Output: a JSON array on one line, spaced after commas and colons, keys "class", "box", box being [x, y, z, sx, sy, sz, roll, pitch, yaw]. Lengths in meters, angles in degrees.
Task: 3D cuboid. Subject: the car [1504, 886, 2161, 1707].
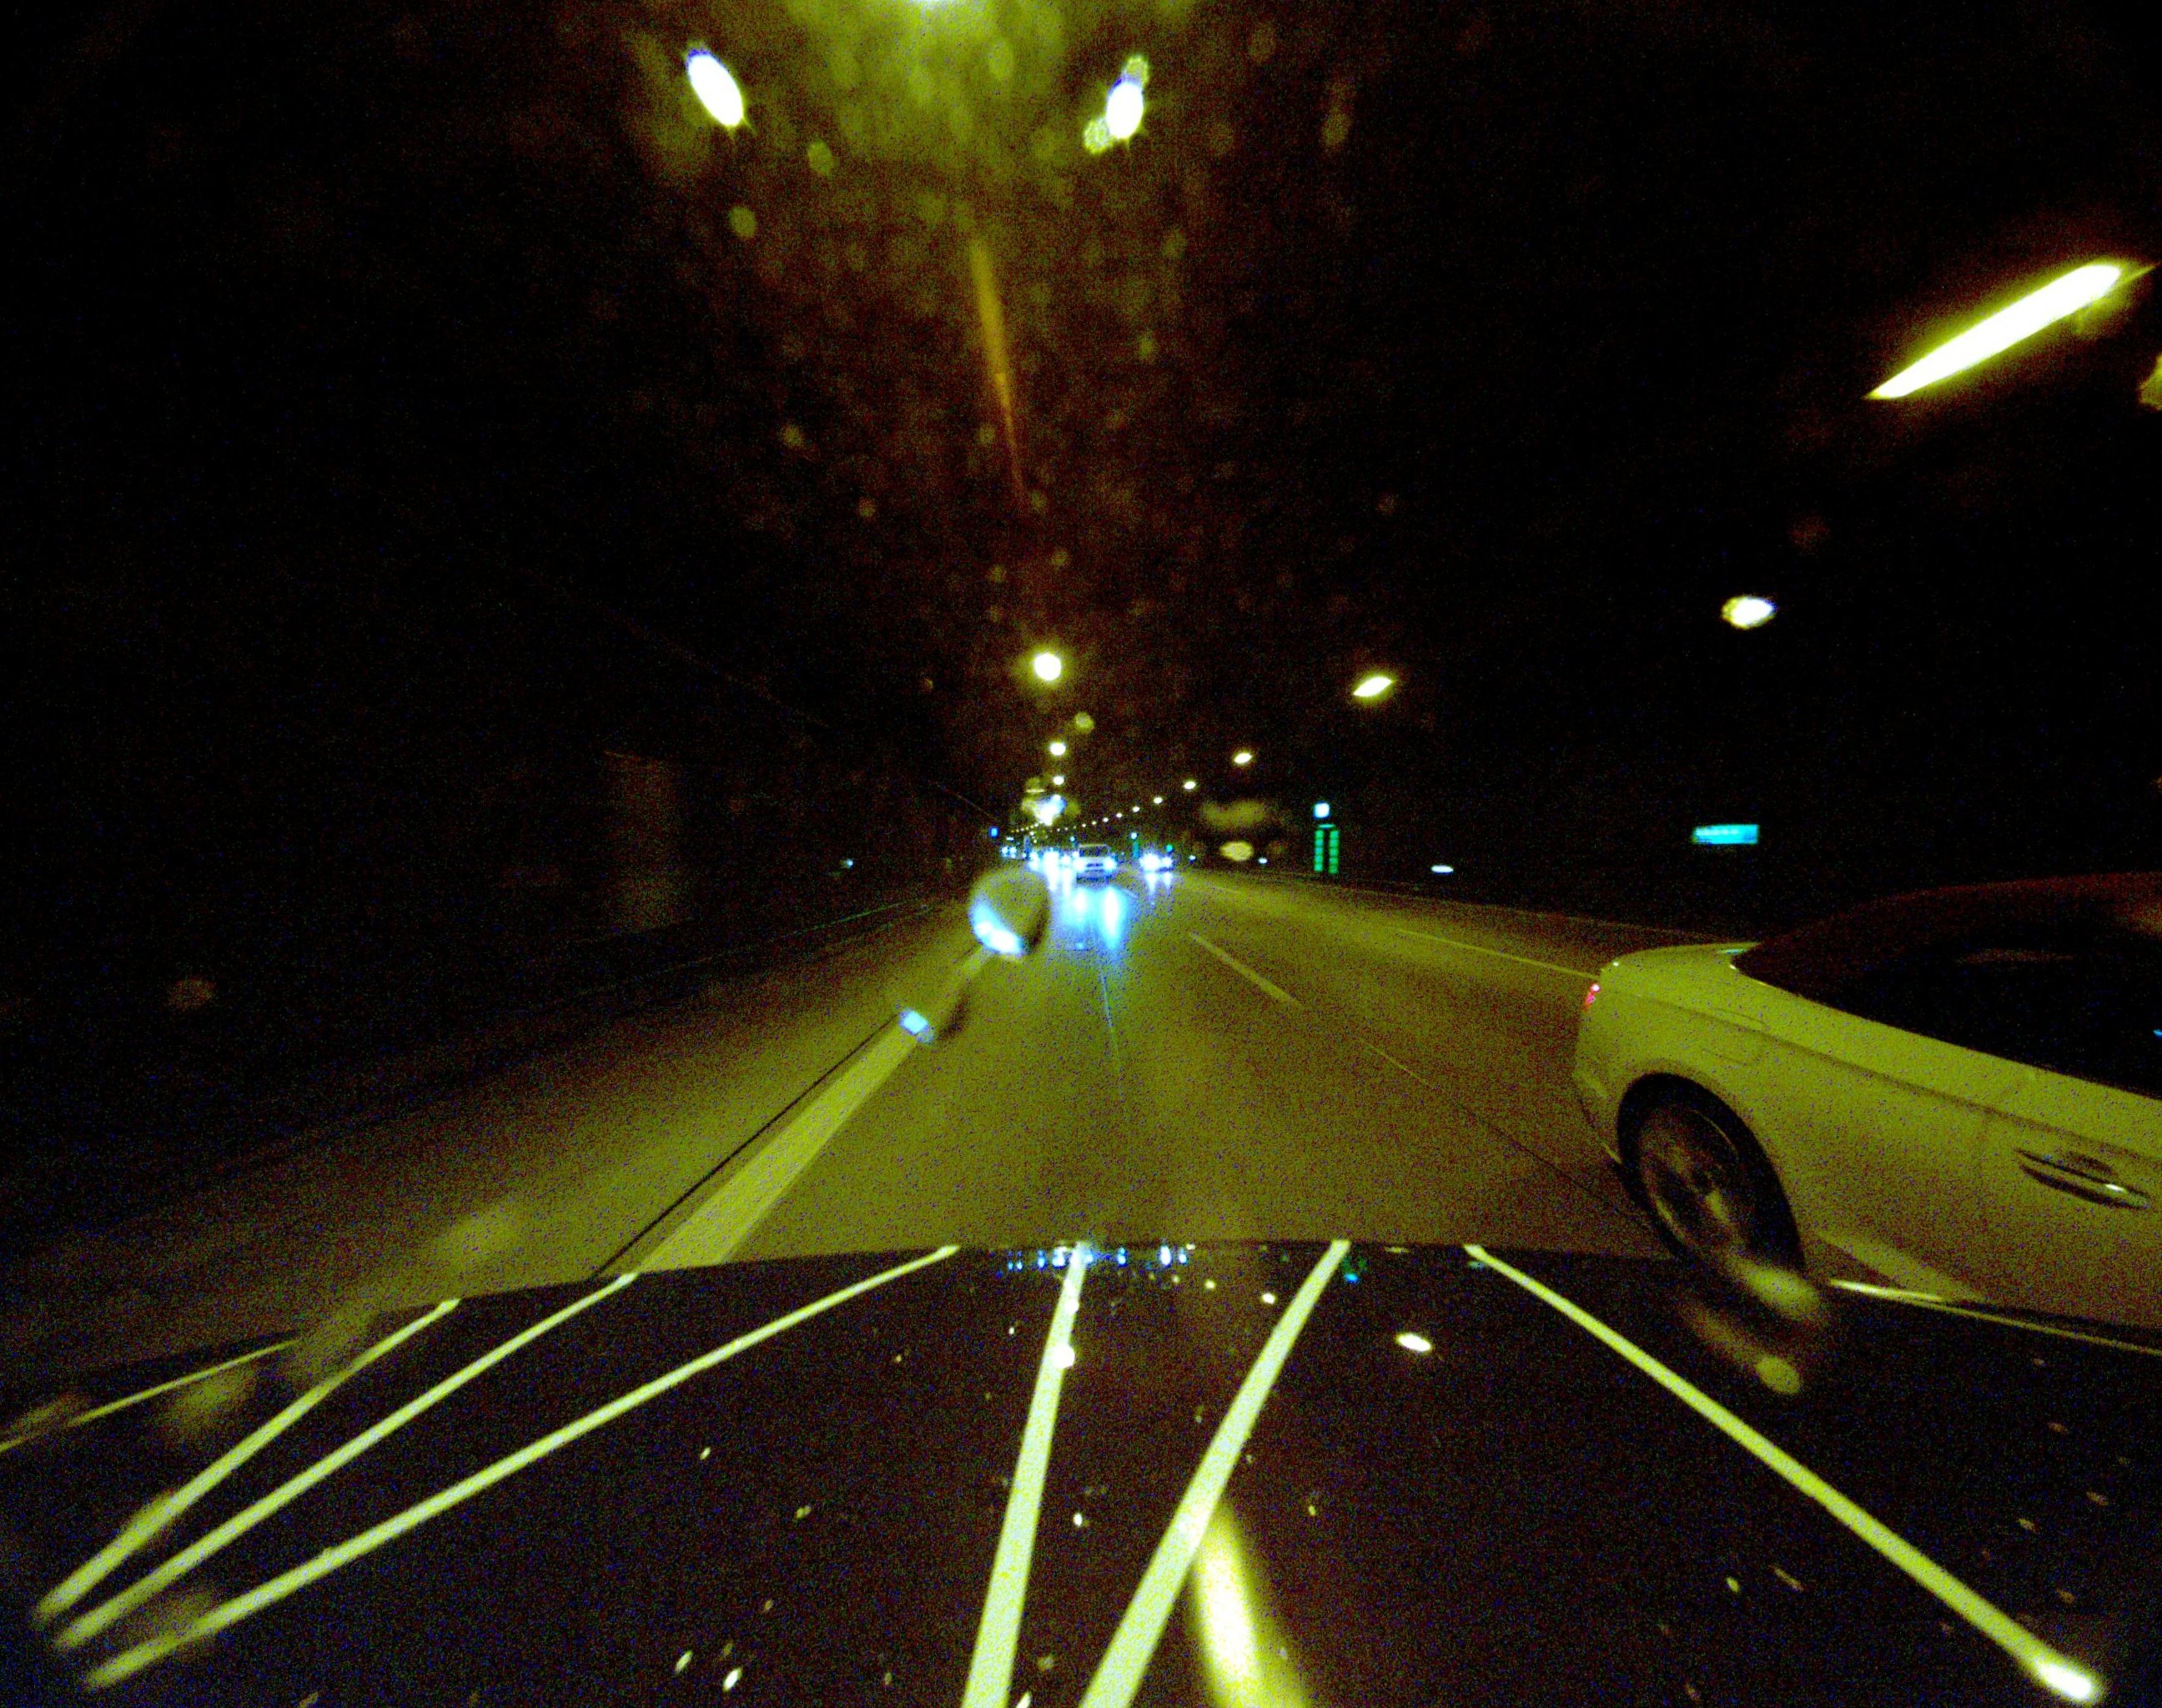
[{"class": "car", "box": [2.857, 0.931, 1.161, 1.706, 1.411, 5.059, -1, 1, 1]}]

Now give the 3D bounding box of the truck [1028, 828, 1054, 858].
[{"class": "truck", "box": [-5.962, -1.719, 112.158, 3.144, 4.137, 7.379, -2, 3, -7]}]

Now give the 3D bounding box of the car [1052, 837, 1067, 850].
[{"class": "car", "box": [-3.401, -1.719, 120.714, 1.999, 1.810, 3.995, -2, 4, -5]}]

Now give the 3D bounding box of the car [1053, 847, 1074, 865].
[{"class": "car", "box": [-1.652, 0.193, 72.548, 1.759, 1.567, 3.998, -2, 1, -4]}]

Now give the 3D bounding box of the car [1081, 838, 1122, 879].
[{"class": "car", "box": [1.017, 0.187, 40.069, 1.999, 2.002, 4.359, -2, 1, 0]}]

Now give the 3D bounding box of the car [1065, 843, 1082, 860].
[{"class": "car", "box": [-1.029, -0.395, 100.772, 1.999, 2.003, 3.996, -2, 4, -5]}]

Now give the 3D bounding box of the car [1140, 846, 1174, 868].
[{"class": "car", "box": [5.280, 0.215, 53.186, 1.739, 1.447, 3.999, -1, 0, -2]}]
